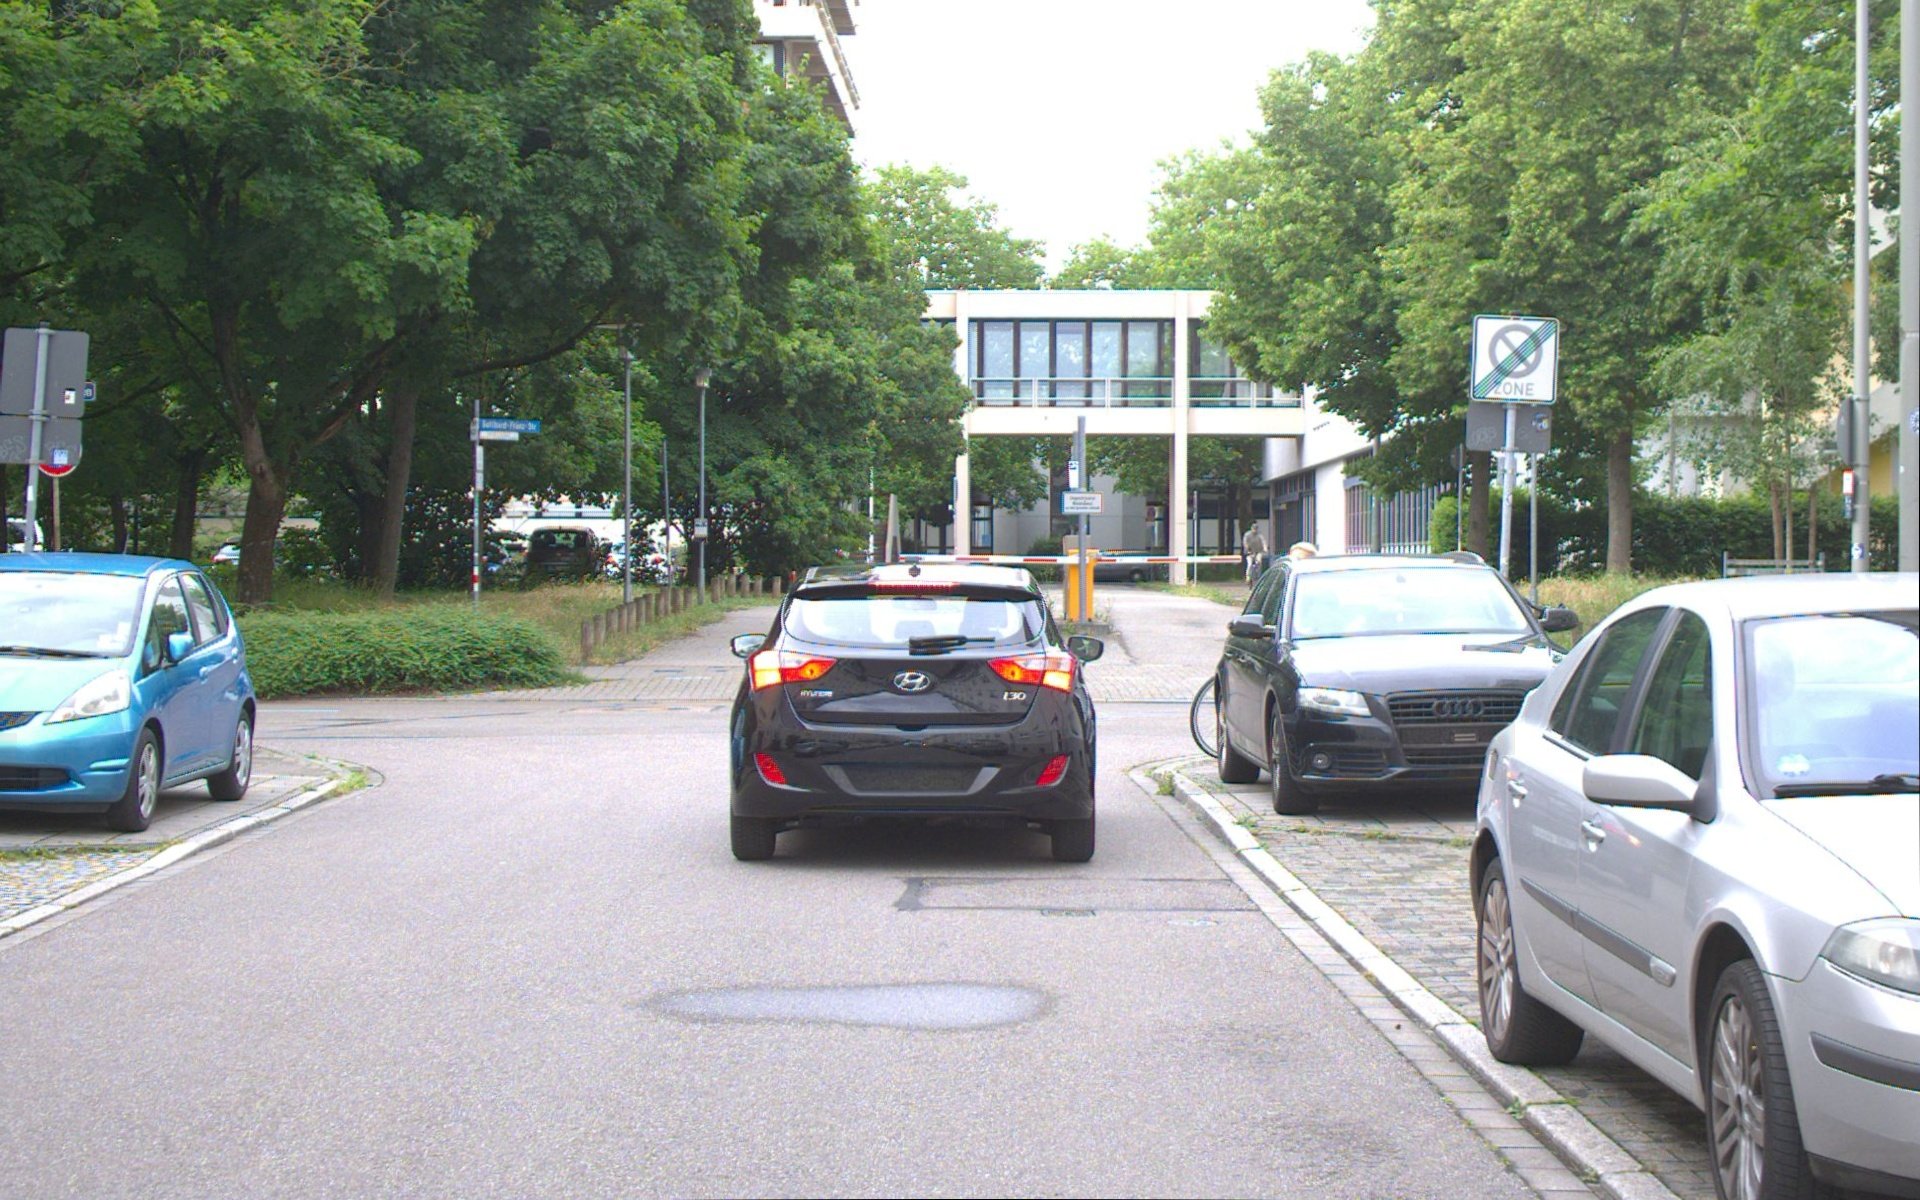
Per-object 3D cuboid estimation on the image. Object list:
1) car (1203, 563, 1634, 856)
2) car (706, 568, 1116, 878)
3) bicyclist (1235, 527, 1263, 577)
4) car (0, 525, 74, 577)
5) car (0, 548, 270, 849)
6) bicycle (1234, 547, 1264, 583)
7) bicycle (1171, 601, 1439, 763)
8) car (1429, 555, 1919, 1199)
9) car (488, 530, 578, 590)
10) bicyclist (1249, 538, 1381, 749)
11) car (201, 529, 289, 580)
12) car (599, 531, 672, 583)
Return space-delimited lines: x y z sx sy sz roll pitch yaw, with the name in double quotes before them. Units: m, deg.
"car" 2.567 0.548 20.359 1.820 1.514 4.674 1 1 -1
"car" -0.229 0.552 18.108 1.903 1.428 4.233 0 1 0
"bicyclist" 8.348 -1.396 99.282 0.693 1.439 0.795 1 1 -1
"car" -25.023 -1.326 92.177 1.665 1.328 3.396 1 1 -1
"car" -5.419 0.486 20.100 1.993 1.536 4.000 1 1 -1
"bicycle" 8.343 -1.014 99.299 0.693 0.993 1.735 1 1 0
"bicycle" 2.577 0.609 25.800 1.928 1.159 0.692 1 1 0
"car" 2.459 0.662 8.631 1.820 1.514 4.674 1 1 -1
"car" -9.707 -0.926 78.322 1.665 1.328 3.396 1 1 -1
"bicyclist" 2.653 0.318 25.792 0.899 1.546 0.693 1 1 0
"car" -19.093 -1.230 91.854 1.665 1.328 3.396 1 1 -1
"car" -8.638 -1.163 91.761 1.665 1.328 3.396 1 1 -1
